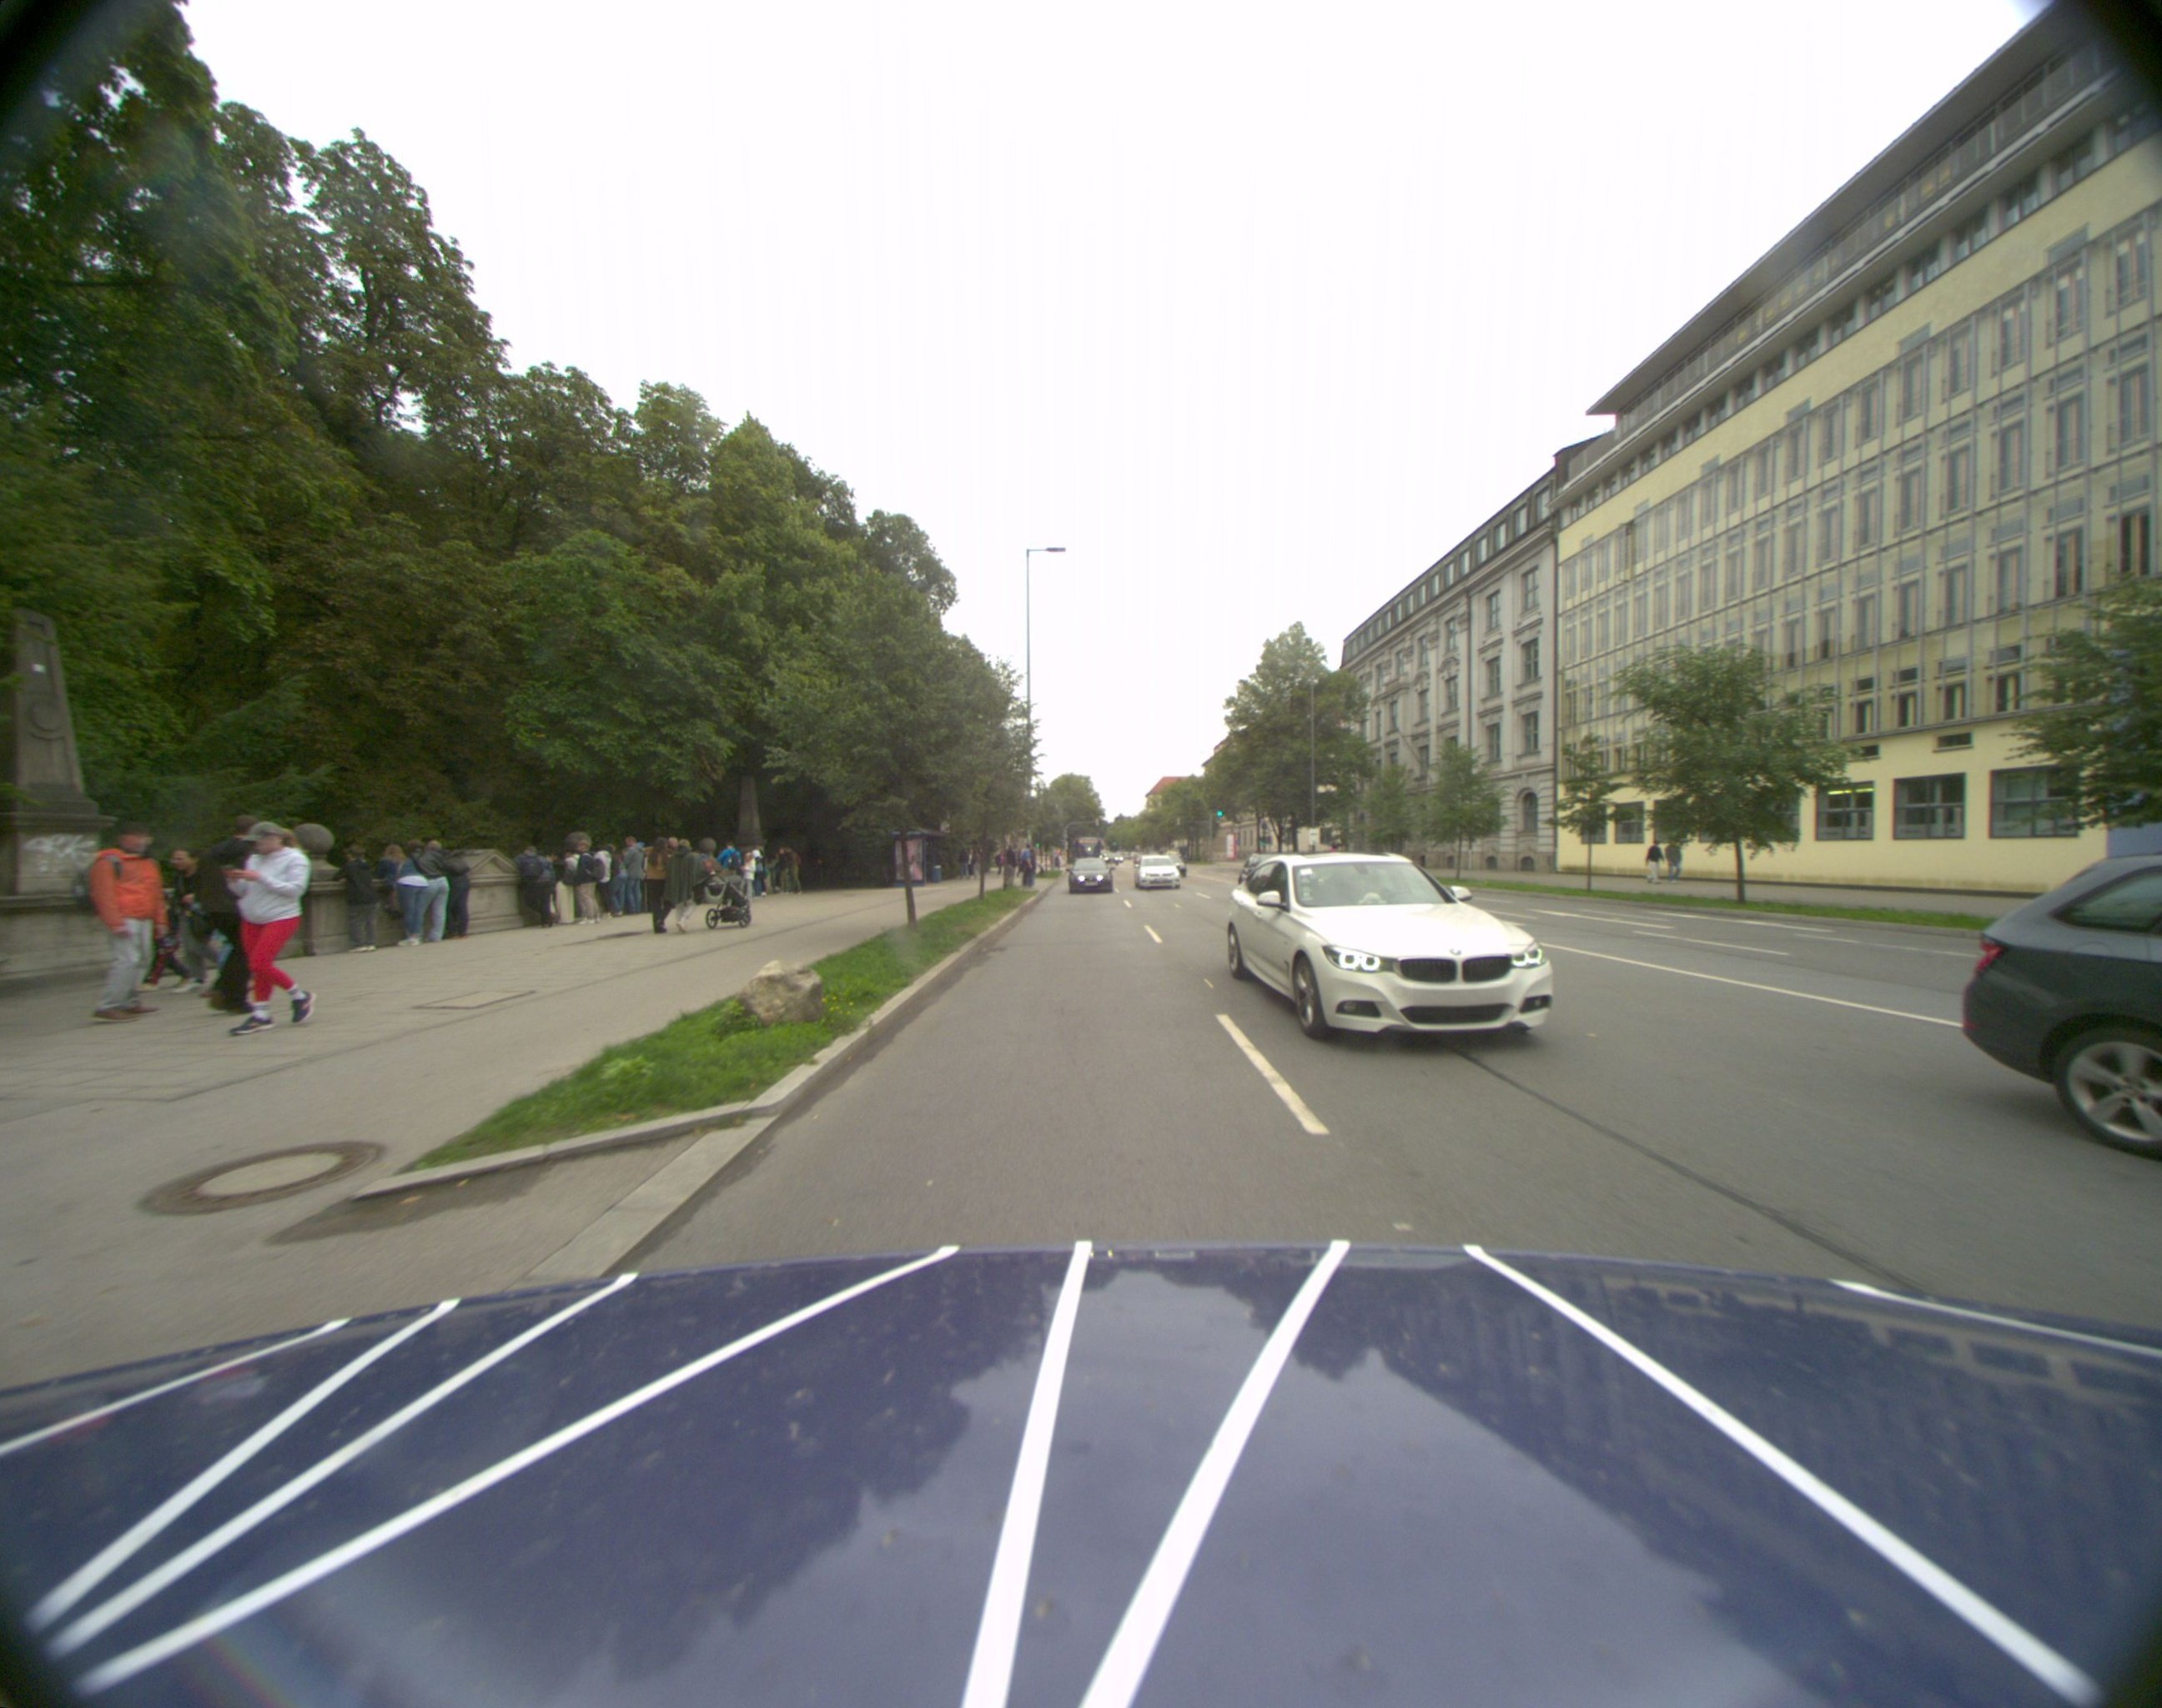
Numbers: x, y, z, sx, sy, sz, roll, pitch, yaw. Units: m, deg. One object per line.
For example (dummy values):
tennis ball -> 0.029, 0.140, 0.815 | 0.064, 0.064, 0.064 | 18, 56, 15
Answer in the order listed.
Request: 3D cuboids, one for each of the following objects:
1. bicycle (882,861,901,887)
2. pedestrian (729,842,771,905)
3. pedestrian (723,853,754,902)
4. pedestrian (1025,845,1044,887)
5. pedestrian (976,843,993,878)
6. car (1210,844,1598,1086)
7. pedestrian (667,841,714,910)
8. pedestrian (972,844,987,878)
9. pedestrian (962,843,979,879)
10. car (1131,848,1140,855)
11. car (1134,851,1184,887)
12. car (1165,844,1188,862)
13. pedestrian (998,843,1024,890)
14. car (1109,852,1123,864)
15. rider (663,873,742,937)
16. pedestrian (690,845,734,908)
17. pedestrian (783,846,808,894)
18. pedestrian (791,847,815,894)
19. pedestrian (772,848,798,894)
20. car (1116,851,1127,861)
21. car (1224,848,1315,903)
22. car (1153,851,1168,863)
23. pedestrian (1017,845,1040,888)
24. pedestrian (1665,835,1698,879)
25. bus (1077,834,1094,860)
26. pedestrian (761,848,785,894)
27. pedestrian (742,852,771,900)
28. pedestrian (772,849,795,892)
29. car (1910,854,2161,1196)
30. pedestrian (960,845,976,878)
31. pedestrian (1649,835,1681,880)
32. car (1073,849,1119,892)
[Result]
bicycle -> -8.220, 0.860, 32.963 | 0.394, 1.054, 1.576 | -2, 0, 1
pedestrian -> -9.785, 0.576, 22.476 | 0.814, 1.819, 0.729 | -2, 1, 3
pedestrian -> -10.773, 0.722, 23.904 | 0.637, 1.499, 0.533 | -2, 1, 3
pedestrian -> -2.007, 0.503, 32.881 | 0.710, 1.798, 0.639 | -2, 1, 1
pedestrian -> -5.228, 0.347, 41.346 | 0.710, 1.904, 0.956 | -2, 1, 1
car -> 2.610, 0.720, 7.659 | 1.797, 1.627, 5.025 | 0, 1, 0
pedestrian -> -10.739, 0.578, 20.914 | 0.814, 1.841, 0.729 | -2, 1, 3
pedestrian -> -5.555, 0.386, 41.613 | 0.710, 1.798, 0.639 | -2, 1, 1
pedestrian -> -6.002, 0.393, 41.275 | 0.710, 1.904, 0.956 | -2, 1, 1
car -> 12.614, -0.499, 176.158 | 1.748, 1.586, 4.000 | 1, 0, 0
car -> 3.365, 0.614, 33.482 | 1.797, 1.439, 4.274 | 0, 1, 0
car -> 9.730, -0.155, 77.873 | 1.861, 1.738, 4.629 | 1, 0, 1
pedestrian -> -2.827, 0.493, 30.654 | 0.804, 1.870, 0.545 | -1, 1, 37
car -> 4.341, 0.493, 95.865 | 1.638, 1.562, 3.945 | 0, 0, 1
rider -> -7.218, 0.952, 14.564 | 0.766, 1.106, 1.244 | -2, 1, 6
pedestrian -> -10.500, 0.628, 21.665 | 0.814, 1.758, 0.729 | -2, 1, 3
pedestrian -> -10.546, 0.588, 28.080 | 0.637, 1.758, 0.533 | -2, 1, 3
pedestrian -> -10.612, 0.614, 29.054 | 0.637, 1.758, 0.533 | -2, 1, 3
pedestrian -> -10.617, 0.614, 27.297 | 0.637, 1.617, 0.533 | -2, 1, 3
car -> 6.364, 0.328, 118.961 | 1.638, 1.562, 3.945 | 0, 0, 1
car -> 5.654, 0.589, 23.323 | 1.696, 1.507, 4.338 | 0, 1, 0
car -> 10.073, 0.327, 96.223 | 1.771, 1.415, 4.748 | 1, 1, 5
pedestrian -> -2.217, 0.514, 32.132 | 0.637, 1.798, 0.711 | -1, 1, 37
pedestrian -> 24.195, 0.114, 30.621 | 0.617, 1.767, 0.836 | -2, 1, 1
bus -> 0.516, -0.678, 77.482 | 1.638, 2.570, 6.701 | 0, 0, 1
pedestrian -> -11.896, 0.648, 29.352 | 0.637, 1.758, 0.533 | -2, 1, 3
pedestrian -> -10.432, 0.706, 24.452 | 0.637, 1.499, 0.533 | -2, 1, 3
pedestrian -> -12.461, 0.699, 31.807 | 0.636, 1.758, 0.534 | -1, 1, 32
car -> 5.530, 0.759, 2.106 | 1.797, 1.439, 4.274 | 0, 1, 0
pedestrian -> -6.274, 0.428, 42.260 | 0.710, 1.798, 0.950 | -2, 1, 1
pedestrian -> 23.532, 0.152, 30.628 | 0.617, 1.767, 0.836 | -2, 1, 1
car -> 0.601, 0.639, 31.798 | 1.797, 1.627, 4.274 | 0, 1, 0
